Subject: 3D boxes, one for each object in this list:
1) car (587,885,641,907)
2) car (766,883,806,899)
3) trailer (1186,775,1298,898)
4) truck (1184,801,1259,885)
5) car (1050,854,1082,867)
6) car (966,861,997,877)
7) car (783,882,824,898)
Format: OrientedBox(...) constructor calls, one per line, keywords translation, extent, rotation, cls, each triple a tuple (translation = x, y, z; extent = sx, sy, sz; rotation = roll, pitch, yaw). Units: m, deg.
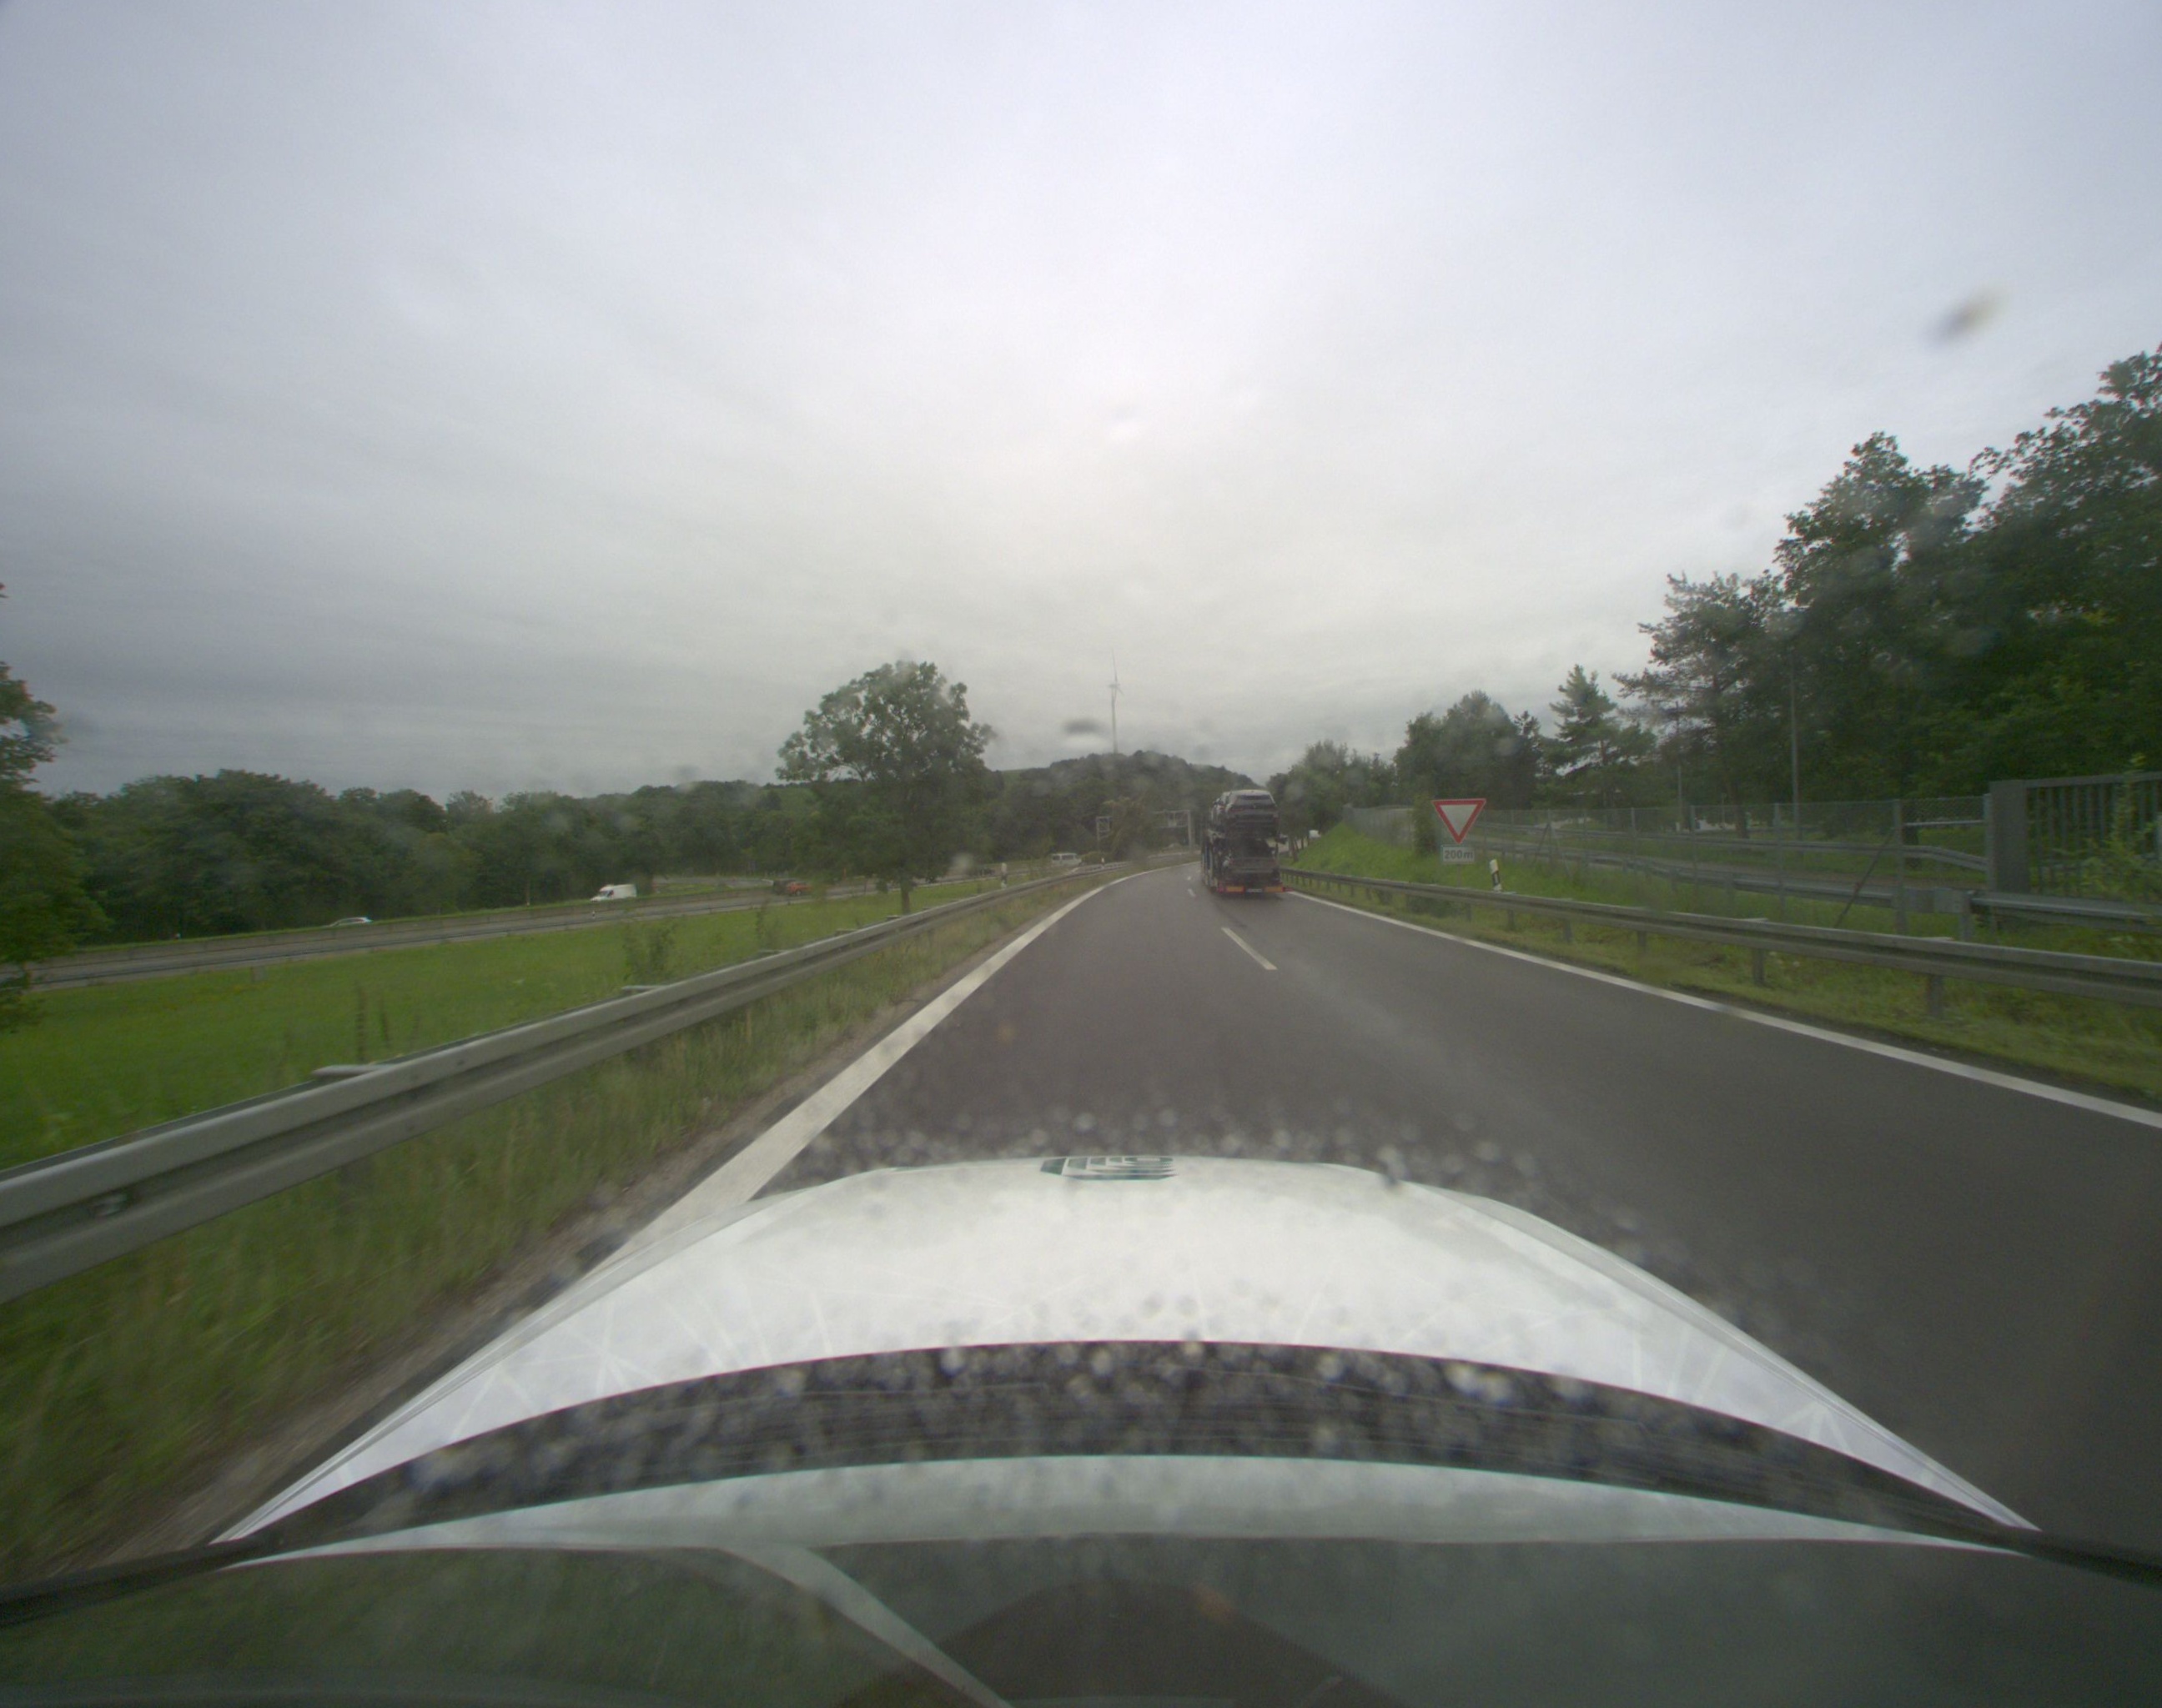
OrientedBox(translation=(-60.524, 5.398, 105.695), extent=(2.003, 2.102, 5.995), rotation=(-6, 1, 20), cls="car")
OrientedBox(translation=(-35.195, 4.413, 97.261), extent=(1.974, 1.661, 4.025), rotation=(-2, 0, 41), cls="car")
OrientedBox(translation=(6.049, -0.556, 32.693), extent=(3.431, 3.999, 12.048), rotation=(0, 0, 6), cls="trailer")
OrientedBox(translation=(7.368, -0.524, 44.147), extent=(3.377, 3.999, 10.866), rotation=(0, 0, 6), cls="truck")
OrientedBox(translation=(-2.360, 1.004, 128.138), extent=(1.974, 1.717, 5.358), rotation=(-2, 0, 39), cls="car")
OrientedBox(translation=(-14.302, 2.108, 117.435), extent=(1.974, 1.716, 4.027), rotation=(-8, 0, 39), cls="car")
OrientedBox(translation=(-32.184, 4.193, 94.628), extent=(1.906, 1.277, 4.027), rotation=(-8, 0, 39), cls="car")
